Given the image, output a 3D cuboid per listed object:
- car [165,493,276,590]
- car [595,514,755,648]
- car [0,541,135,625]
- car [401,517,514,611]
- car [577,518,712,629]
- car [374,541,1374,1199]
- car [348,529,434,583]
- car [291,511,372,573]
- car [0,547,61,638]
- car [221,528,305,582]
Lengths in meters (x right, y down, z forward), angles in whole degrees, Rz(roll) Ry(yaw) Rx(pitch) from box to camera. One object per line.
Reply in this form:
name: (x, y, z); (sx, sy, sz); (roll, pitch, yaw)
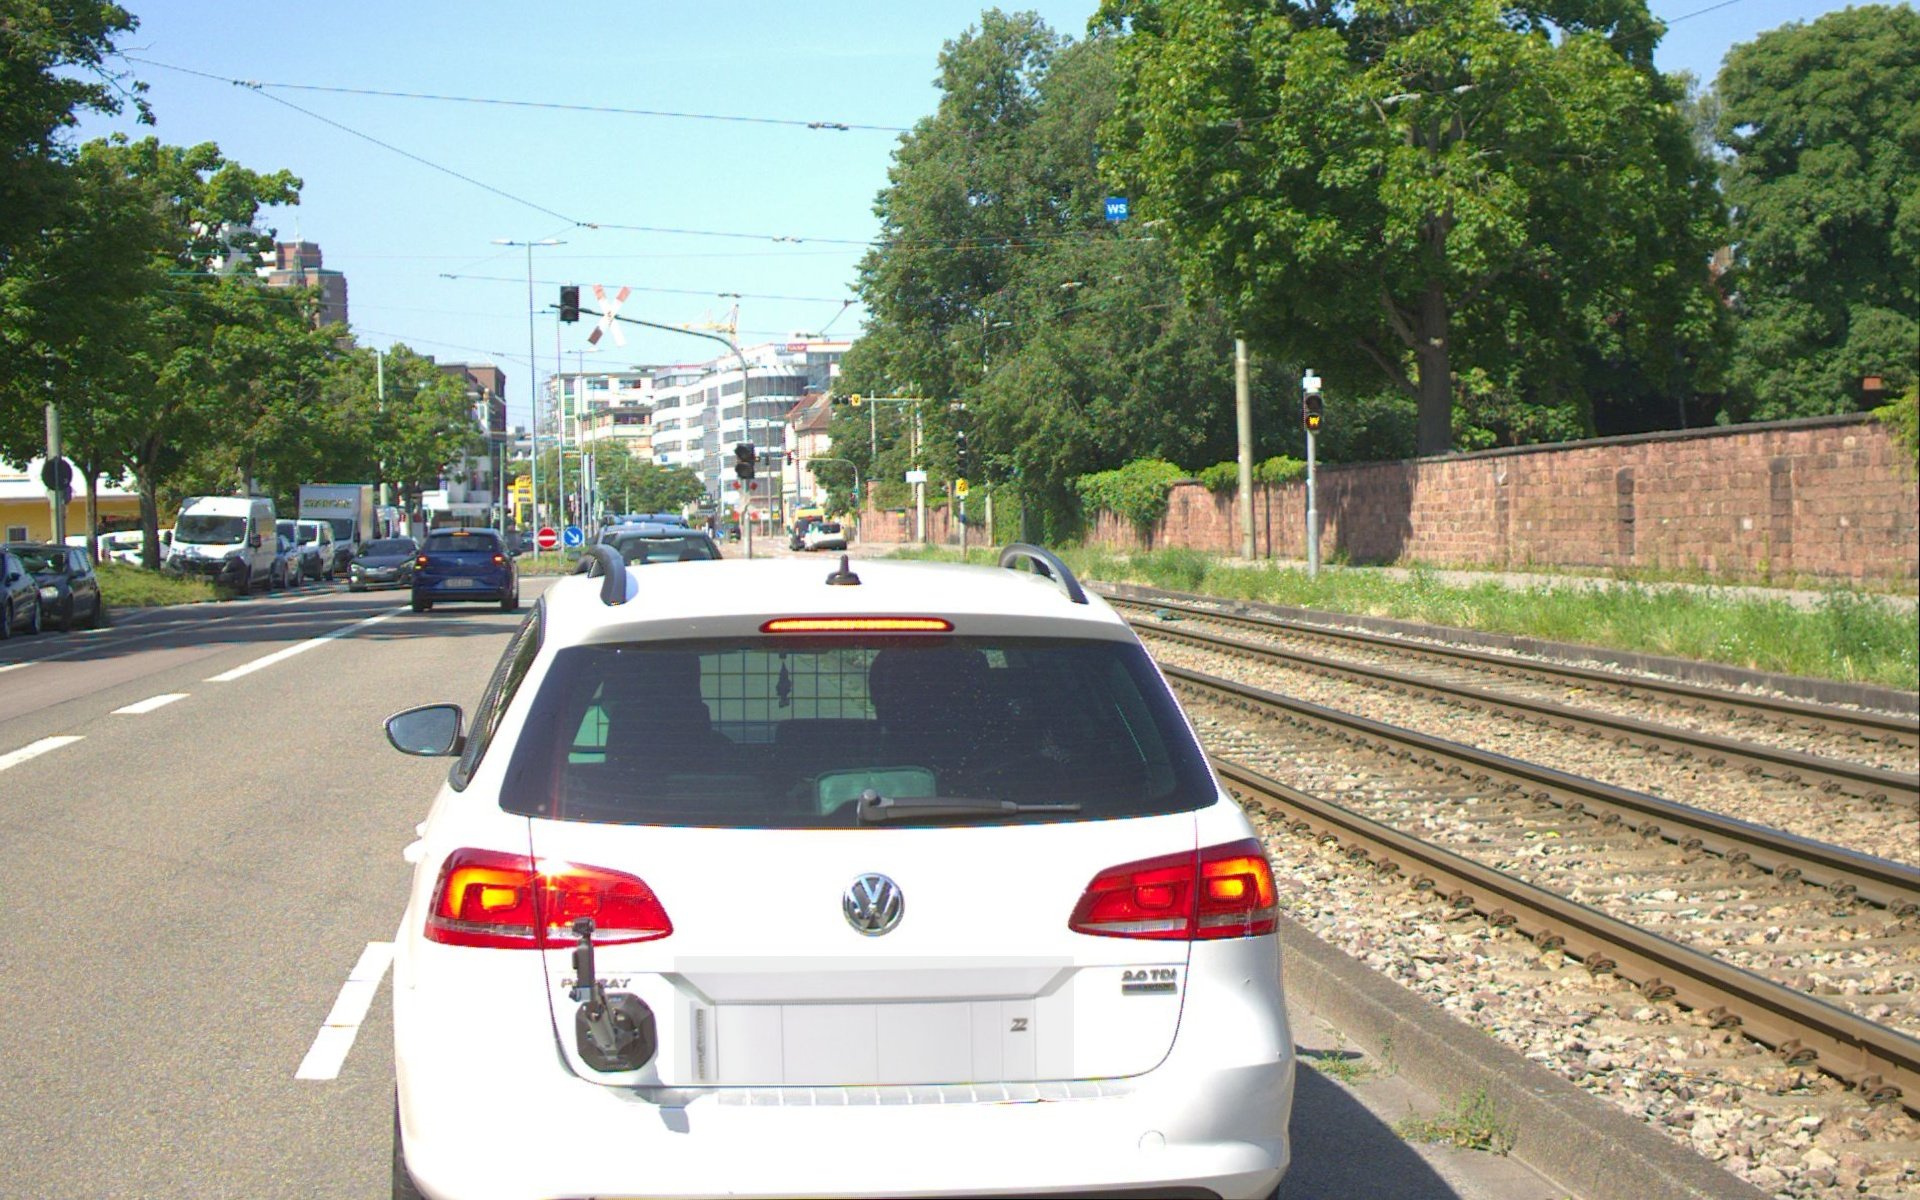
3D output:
car: (-19.025, -1.528, 88.647); (1.880, 2.407, 5.117); (-1, 1, -2)
car: (-3.462, -0.266, 41.241); (1.800, 1.502, 4.001); (0, 2, -6)
car: (-15.646, -0.313, 59.877); (1.699, 1.347, 4.001); (-1, 1, -2)
car: (-8.748, -0.653, 60.060); (1.800, 1.502, 4.001); (0, 2, -6)
car: (-4.465, -0.400, 48.285); (1.800, 1.455, 4.001); (0, 2, -6)
car: (-0.412, 0.621, 8.066); (1.691, 1.446, 4.460); (-1, 2, -7)
car: (-14.115, -1.106, 85.463); (1.699, 1.268, 4.001); (-1, 1, -4)
car: (-19.932, -1.859, 109.176); (1.826, 1.860, 4.725); (-1, 1, -2)
car: (-15.598, -0.126, 54.581); (1.699, 1.347, 4.001); (-1, 1, -2)
car: (-19.082, -1.242, 94.267); (1.699, 1.397, 4.001); (-1, 1, -4)
